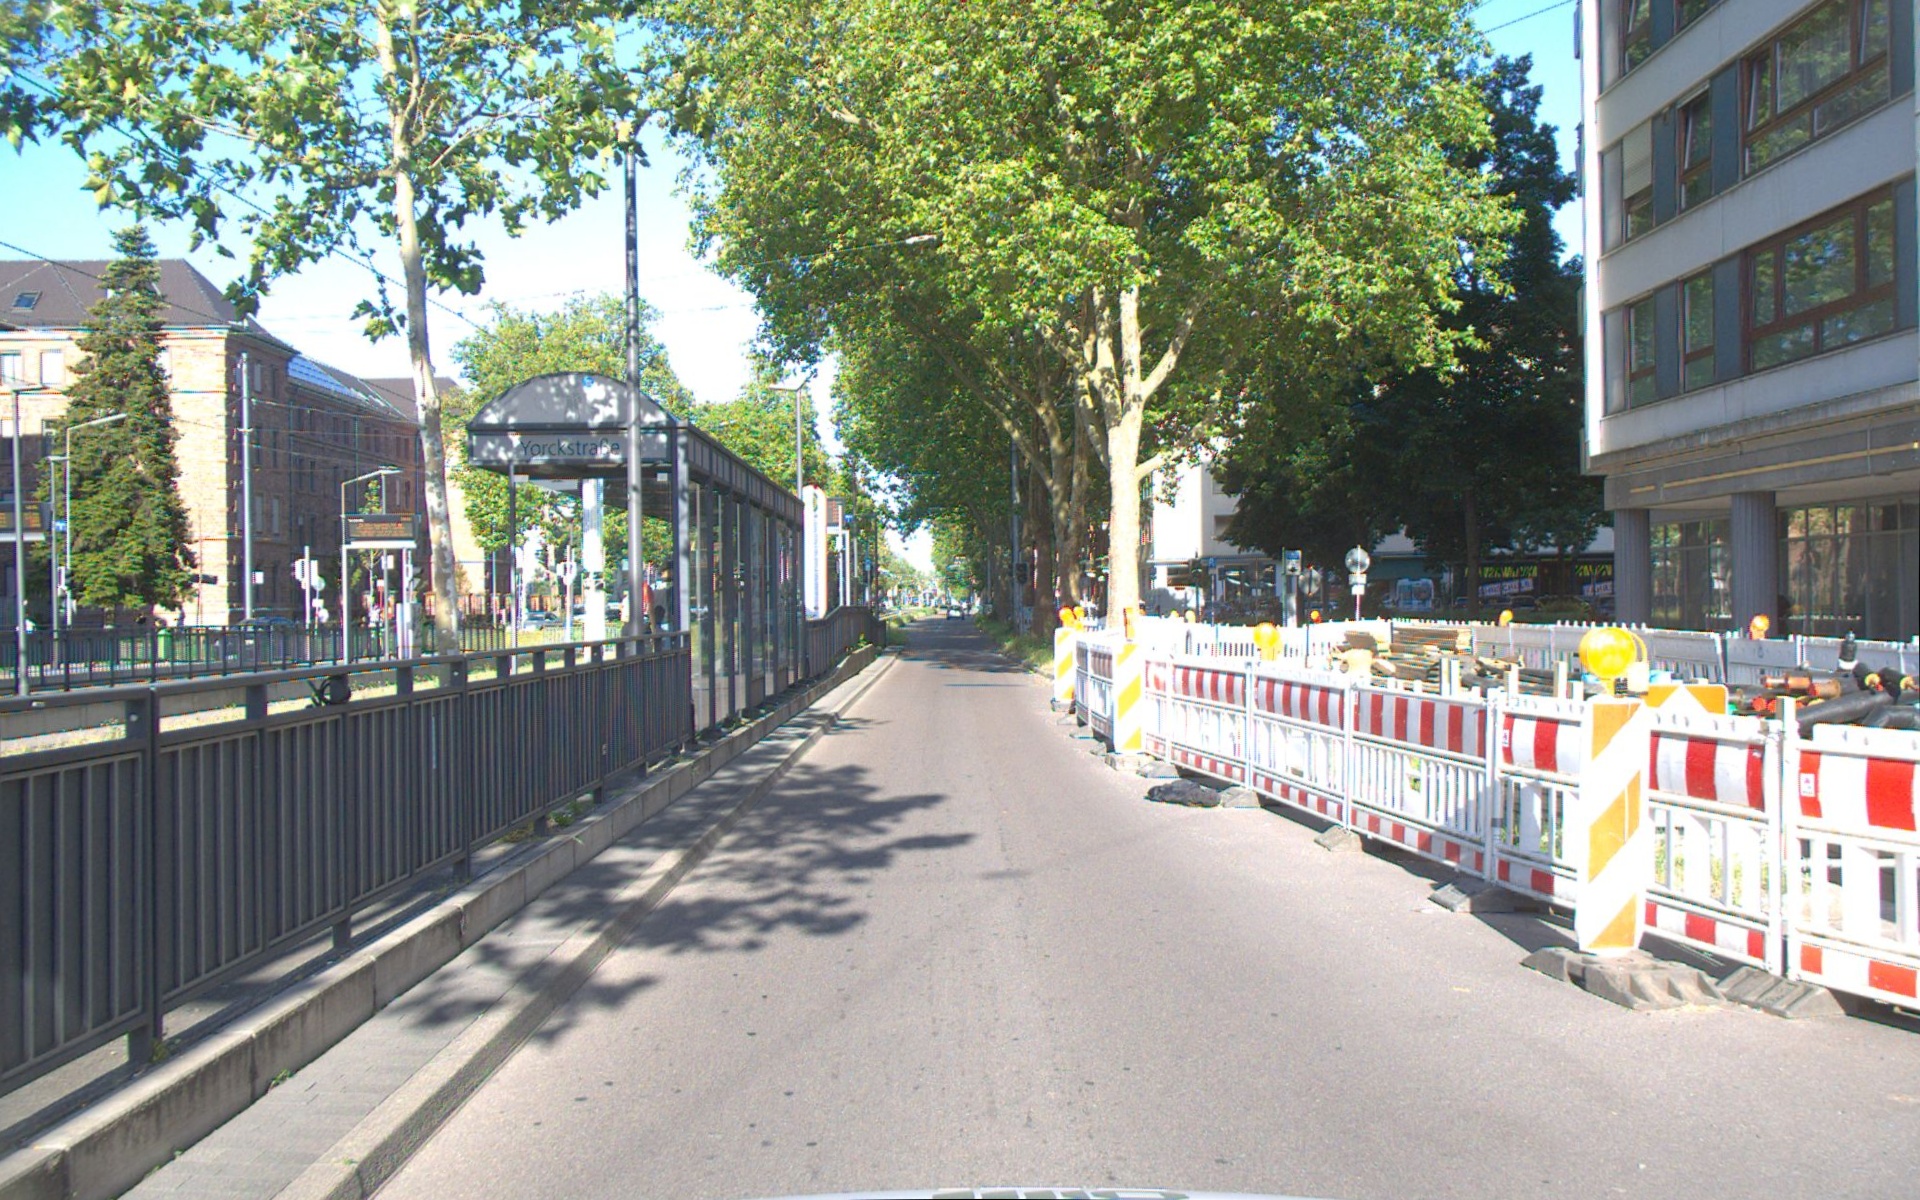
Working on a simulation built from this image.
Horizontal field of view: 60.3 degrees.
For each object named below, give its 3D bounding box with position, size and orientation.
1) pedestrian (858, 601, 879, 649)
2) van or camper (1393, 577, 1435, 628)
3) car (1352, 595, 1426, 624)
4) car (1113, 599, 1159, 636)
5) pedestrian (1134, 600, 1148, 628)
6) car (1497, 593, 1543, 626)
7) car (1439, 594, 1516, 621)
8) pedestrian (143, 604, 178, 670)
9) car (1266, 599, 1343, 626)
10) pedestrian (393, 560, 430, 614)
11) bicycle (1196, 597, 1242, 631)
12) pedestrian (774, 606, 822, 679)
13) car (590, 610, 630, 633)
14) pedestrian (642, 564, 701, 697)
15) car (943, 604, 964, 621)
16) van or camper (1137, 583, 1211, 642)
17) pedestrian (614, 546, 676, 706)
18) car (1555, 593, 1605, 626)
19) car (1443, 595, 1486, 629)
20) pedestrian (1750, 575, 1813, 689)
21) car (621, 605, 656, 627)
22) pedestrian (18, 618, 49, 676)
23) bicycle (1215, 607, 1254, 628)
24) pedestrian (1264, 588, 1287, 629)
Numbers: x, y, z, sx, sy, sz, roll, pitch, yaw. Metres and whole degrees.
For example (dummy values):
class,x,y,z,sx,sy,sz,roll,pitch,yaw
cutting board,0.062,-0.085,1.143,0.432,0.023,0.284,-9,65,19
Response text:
class,x,y,z,sx,sy,sz,roll,pitch,yaw
pedestrian,-3.289,0.878,59.377,0.697,1.710,0.772,-1,0,-2
van or camper,24.535,0.133,89.392,2.101,2.682,5.592,-1,0,15
car,25.915,0.563,99.899,4.288,1.673,2.001,-1,0,16
car,8.913,0.881,84.104,1.782,1.772,5.167,-1,0,0
pedestrian,11.329,0.857,103.412,0.779,1.734,0.724,-1,0,0
car,29.826,0.512,88.217,1.951,1.698,4.749,-1,0,14
car,30.766,0.432,98.520,4.288,1.563,2.001,-1,0,16
pedestrian,-24.969,1.145,51.651,0.649,2.049,0.860,-1,0,-1
car,21.123,0.766,101.344,4.489,1.608,2.001,-1,0,15
pedestrian,-18.145,-0.443,54.710,0.933,1.766,0.730,-1,0,2
bicycle,10.037,0.558,64.231,1.572,1.285,0.962,-1,0,-5
pedestrian,-2.704,0.707,27.661,0.737,1.199,0.812,0,0,-1
car,-26.674,1.617,126.053,1.952,1.678,4.827,-1,0,0
pedestrian,-3.987,0.414,22.905,0.668,1.815,0.754,0,0,1
car,-0.667,1.215,165.832,1.980,1.691,3.999,-1,0,-1
van or camper,8.814,0.510,68.568,2.244,2.326,5.821,0,0,-1
pedestrian,-4.098,0.332,21.562,0.654,2.049,0.716,0,0,1
car,32.731,0.507,87.400,1.951,1.656,4.393,-1,0,14
car,26.955,0.627,88.537,1.951,1.698,4.749,-1,0,14
pedestrian,13.578,0.519,27.359,0.676,1.847,0.665,-1,0,-1
car,-26.544,1.289,136.711,1.731,1.749,4.422,-1,0,4
pedestrian,-29.868,1.511,53.322,0.678,1.869,0.573,-1,0,-1
bicycle,15.369,0.981,92.532,2.096,1.123,0.508,-1,0,25
pedestrian,12.999,0.342,68.131,0.717,1.645,1.035,-1,0,0
